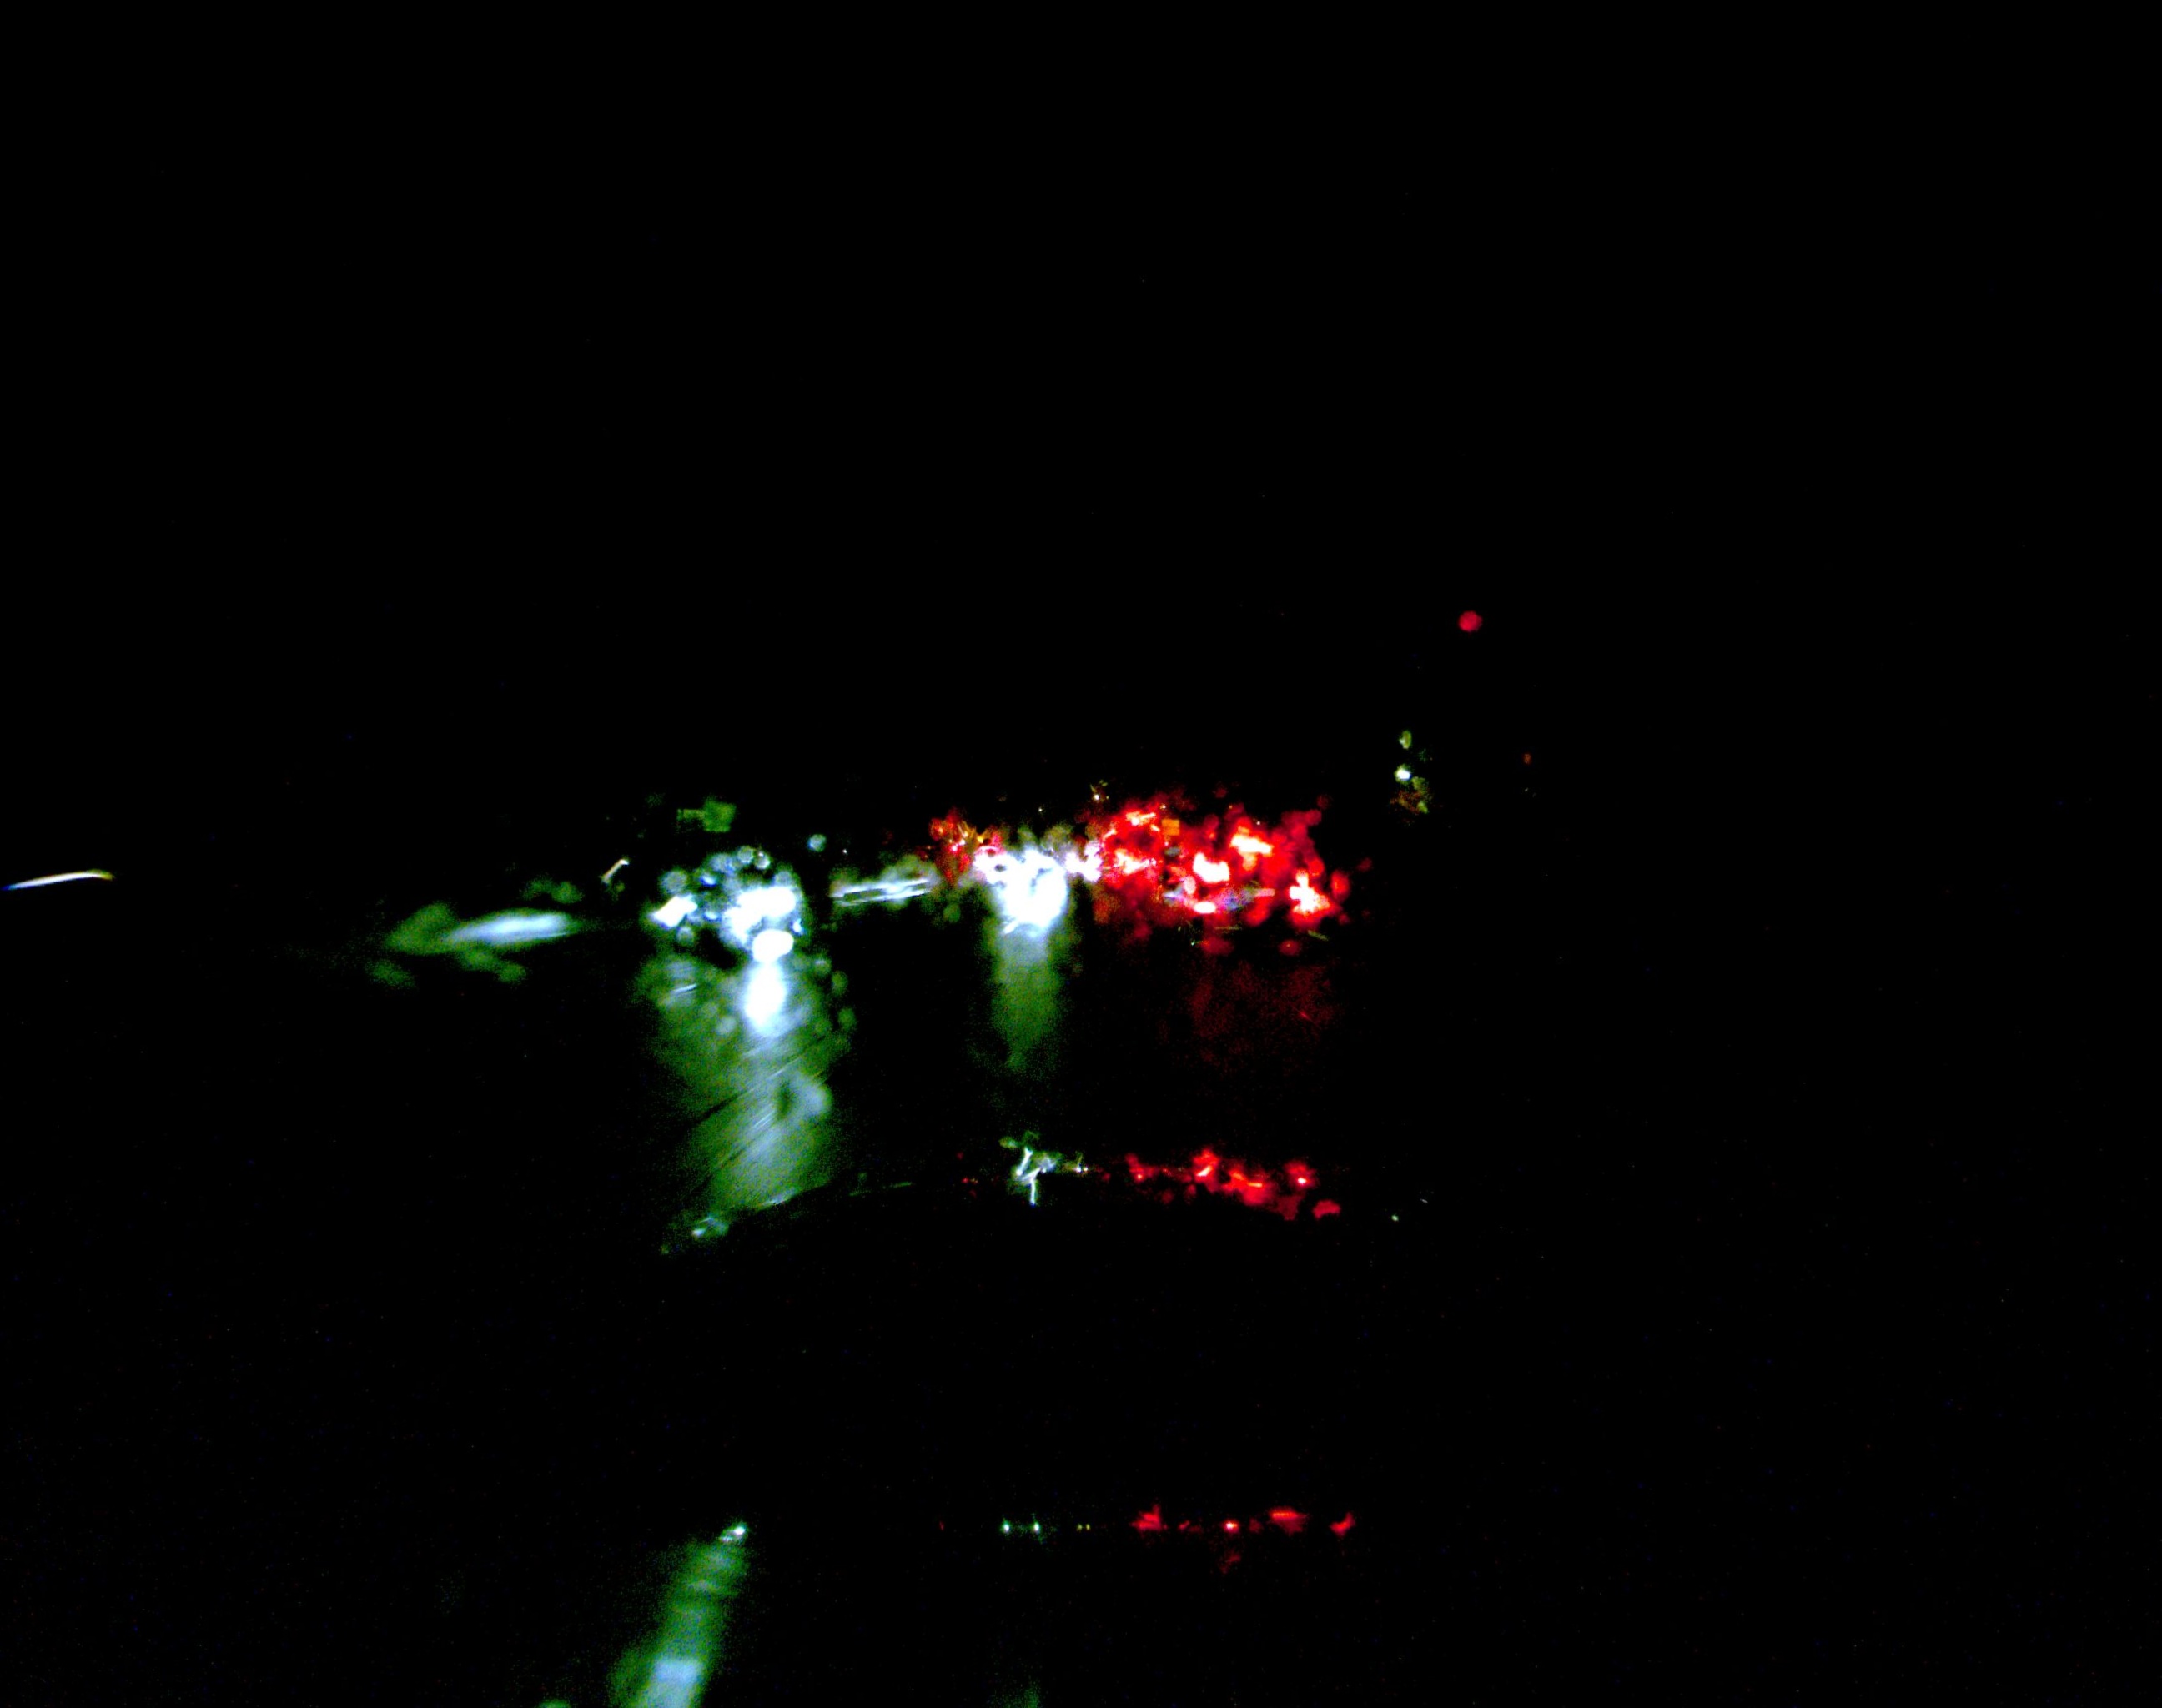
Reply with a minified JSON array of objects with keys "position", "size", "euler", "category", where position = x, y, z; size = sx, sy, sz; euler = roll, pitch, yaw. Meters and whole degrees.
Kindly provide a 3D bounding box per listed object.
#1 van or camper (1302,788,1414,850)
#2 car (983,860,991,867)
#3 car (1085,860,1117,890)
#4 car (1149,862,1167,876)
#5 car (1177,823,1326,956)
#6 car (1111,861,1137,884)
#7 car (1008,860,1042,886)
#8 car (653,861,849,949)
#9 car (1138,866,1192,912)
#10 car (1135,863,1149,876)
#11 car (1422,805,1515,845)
[{"position":[14.461,-1.744,43.102],"size":[2.584,2.908,6.327],"euler":[-1,-1,-14],"category":"van or camper"},{"position":[-24.760,2.563,213.755],"size":[1.991,1.912,4.733],"euler":[0,-1,-6],"category":"car"},{"position":[1.164,1.185,46.481],"size":[1.687,1.630,3.855],"euler":[0,-1,3],"category":"car"},{"position":[7.734,1.517,82.053],"size":[1.654,1.450,4.057],"euler":[-1,-1,7],"category":"car"},{"position":[2.789,0.540,14.283],"size":[1.934,1.972,4.221],"euler":[0,0,3],"category":"car"},{"position":[3.218,1.338,59.869],"size":[1.700,1.638,3.736],"euler":[-2,0,6],"category":"car"},{"position":[-3.197,1.064,47.114],"size":[1.689,1.434,4.292],"euler":[0,0,0],"category":"car"},{"position":[-6.121,0.872,15.797],"size":[1.912,1.444,4.545],"euler":[0,0,0],"category":"car"},{"position":[2.936,1.173,28.779],"size":[1.760,1.450,4.223],"euler":[0,0,5],"category":"car"},{"position":[7.157,1.815,95.613],"size":[1.655,1.450,4.055],"euler":[0,-1,5],"category":"car"},{"position":[17.353,-1.237,36.687],"size":[1.637,1.618,4.116],"euler":[0,0,-13],"category":"car"}]
